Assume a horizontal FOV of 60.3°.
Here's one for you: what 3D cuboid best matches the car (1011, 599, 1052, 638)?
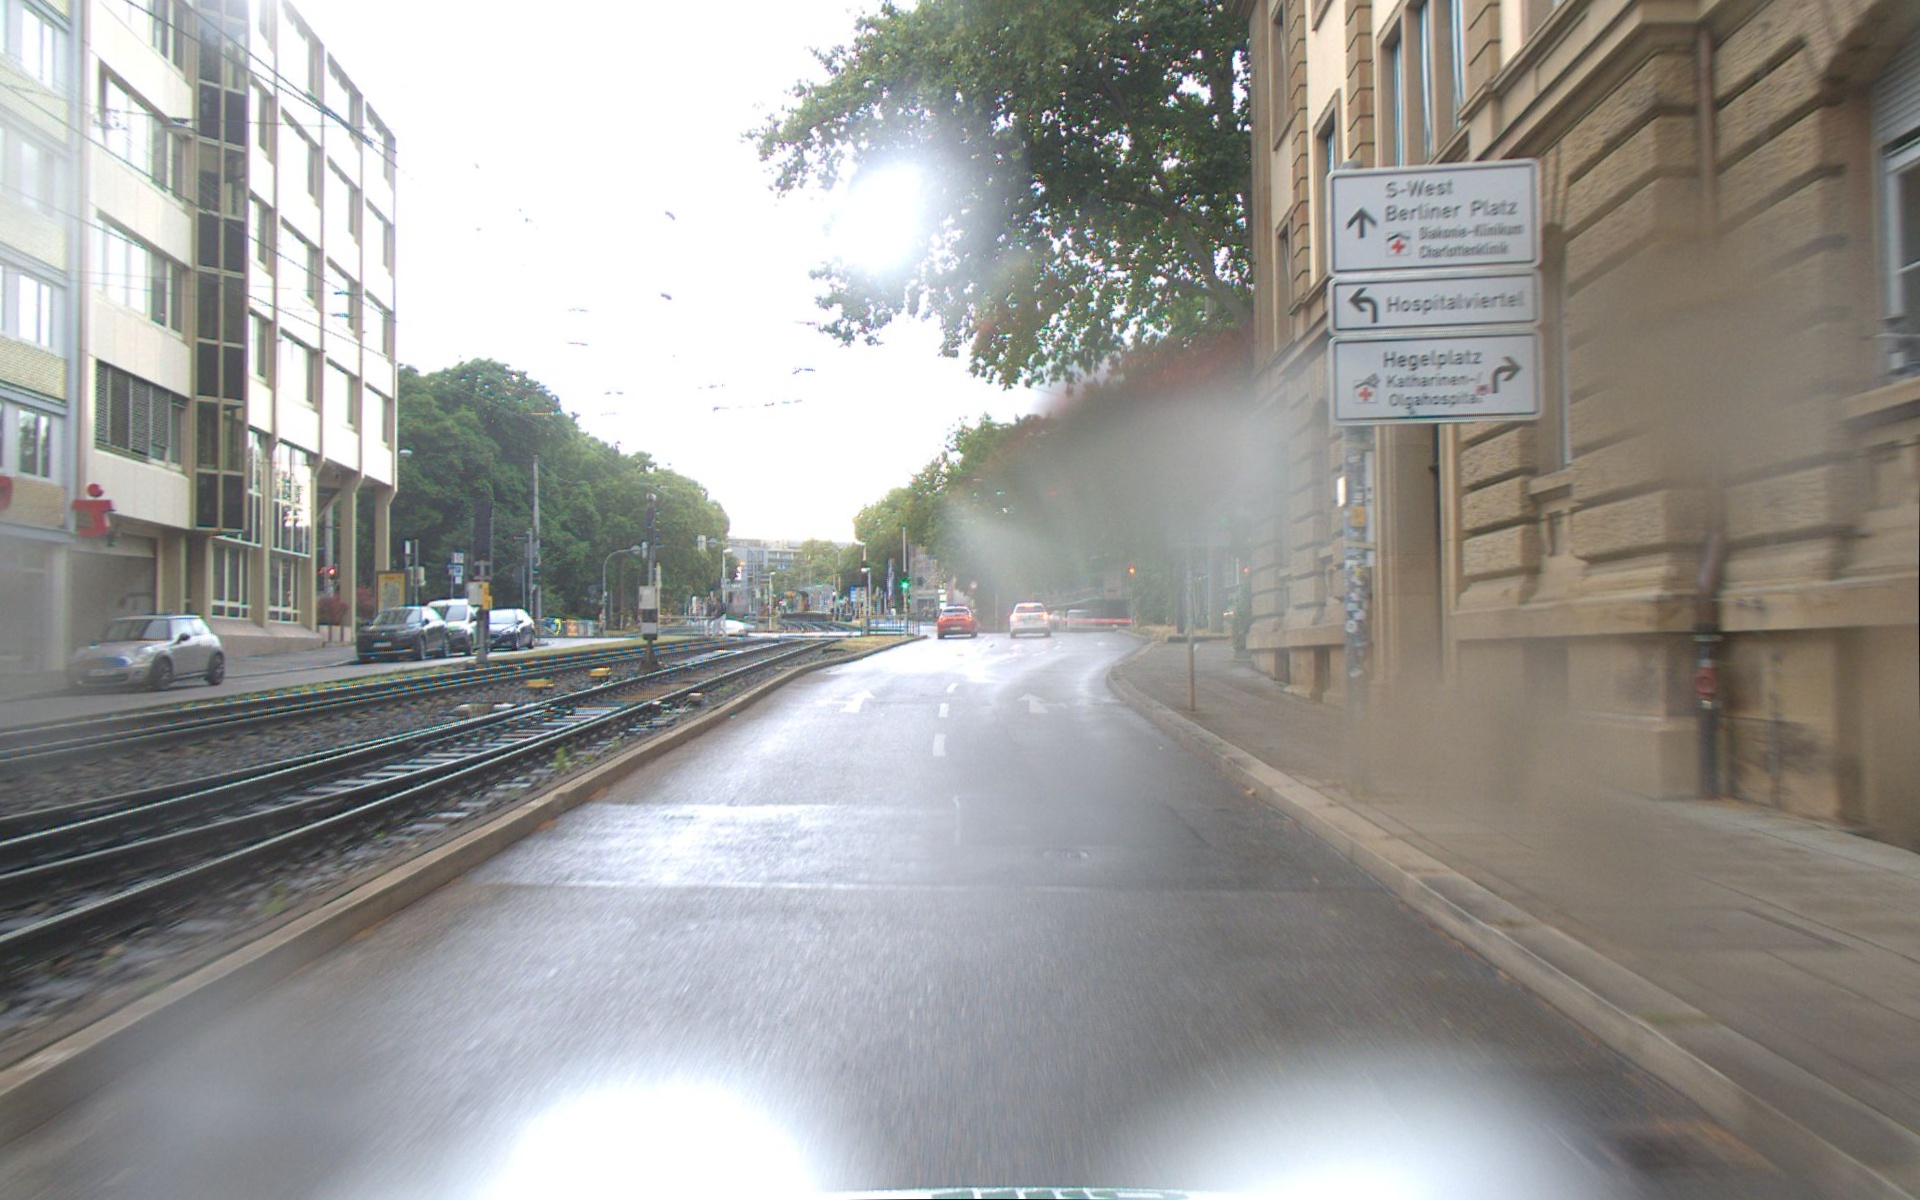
[{"bbox_3d":[3.113,0.781,71.566,1.644,1.604,4.254,-1,0,3],"label":"car"}]

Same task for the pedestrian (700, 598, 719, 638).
[{"bbox_3d":[-11.500,0.837,76.022,0.631,1.819,0.804,2,-2,-25],"label":"pedestrian"}]

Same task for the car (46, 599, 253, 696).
[{"bbox_3d":[-15.511,0.917,31.968,1.954,1.703,4.690,1,-2,-4],"label":"car"}]

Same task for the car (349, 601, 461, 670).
[{"bbox_3d":[-16.164,1.044,48.401,1.954,1.883,4.690,1,-2,-4],"label":"car"}]

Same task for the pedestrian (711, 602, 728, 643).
[{"bbox_3d":[-10.952,1.022,75.307,0.629,1.819,0.806,1,-2,-20],"label":"pedestrian"}]

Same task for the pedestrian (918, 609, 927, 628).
[{"bbox_3d":[-3.761,1.815,164.645,0.742,1.855,0.699,1,-2,-10],"label":"pedestrian"}]

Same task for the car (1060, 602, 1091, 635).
[{"bbox_3d":[11.327,1.845,161.981,2.493,3.189,5.028,1,-2,-2],"label":"car"}]

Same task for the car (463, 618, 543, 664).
[{"bbox_3d":[-16.563,1.492,60.149,1.954,1.610,4.544,1,-2,-4],"label":"car"}]

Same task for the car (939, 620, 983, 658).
[{"bbox_3d":[0.077,1.789,75.286,1.940,1.669,4.416,1,-2,1],"label":"car"}]

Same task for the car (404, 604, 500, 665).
[{"bbox_3d":[-16.477,1.136,53.844,1.954,1.883,4.690,1,-2,-4],"label":"car"}]
